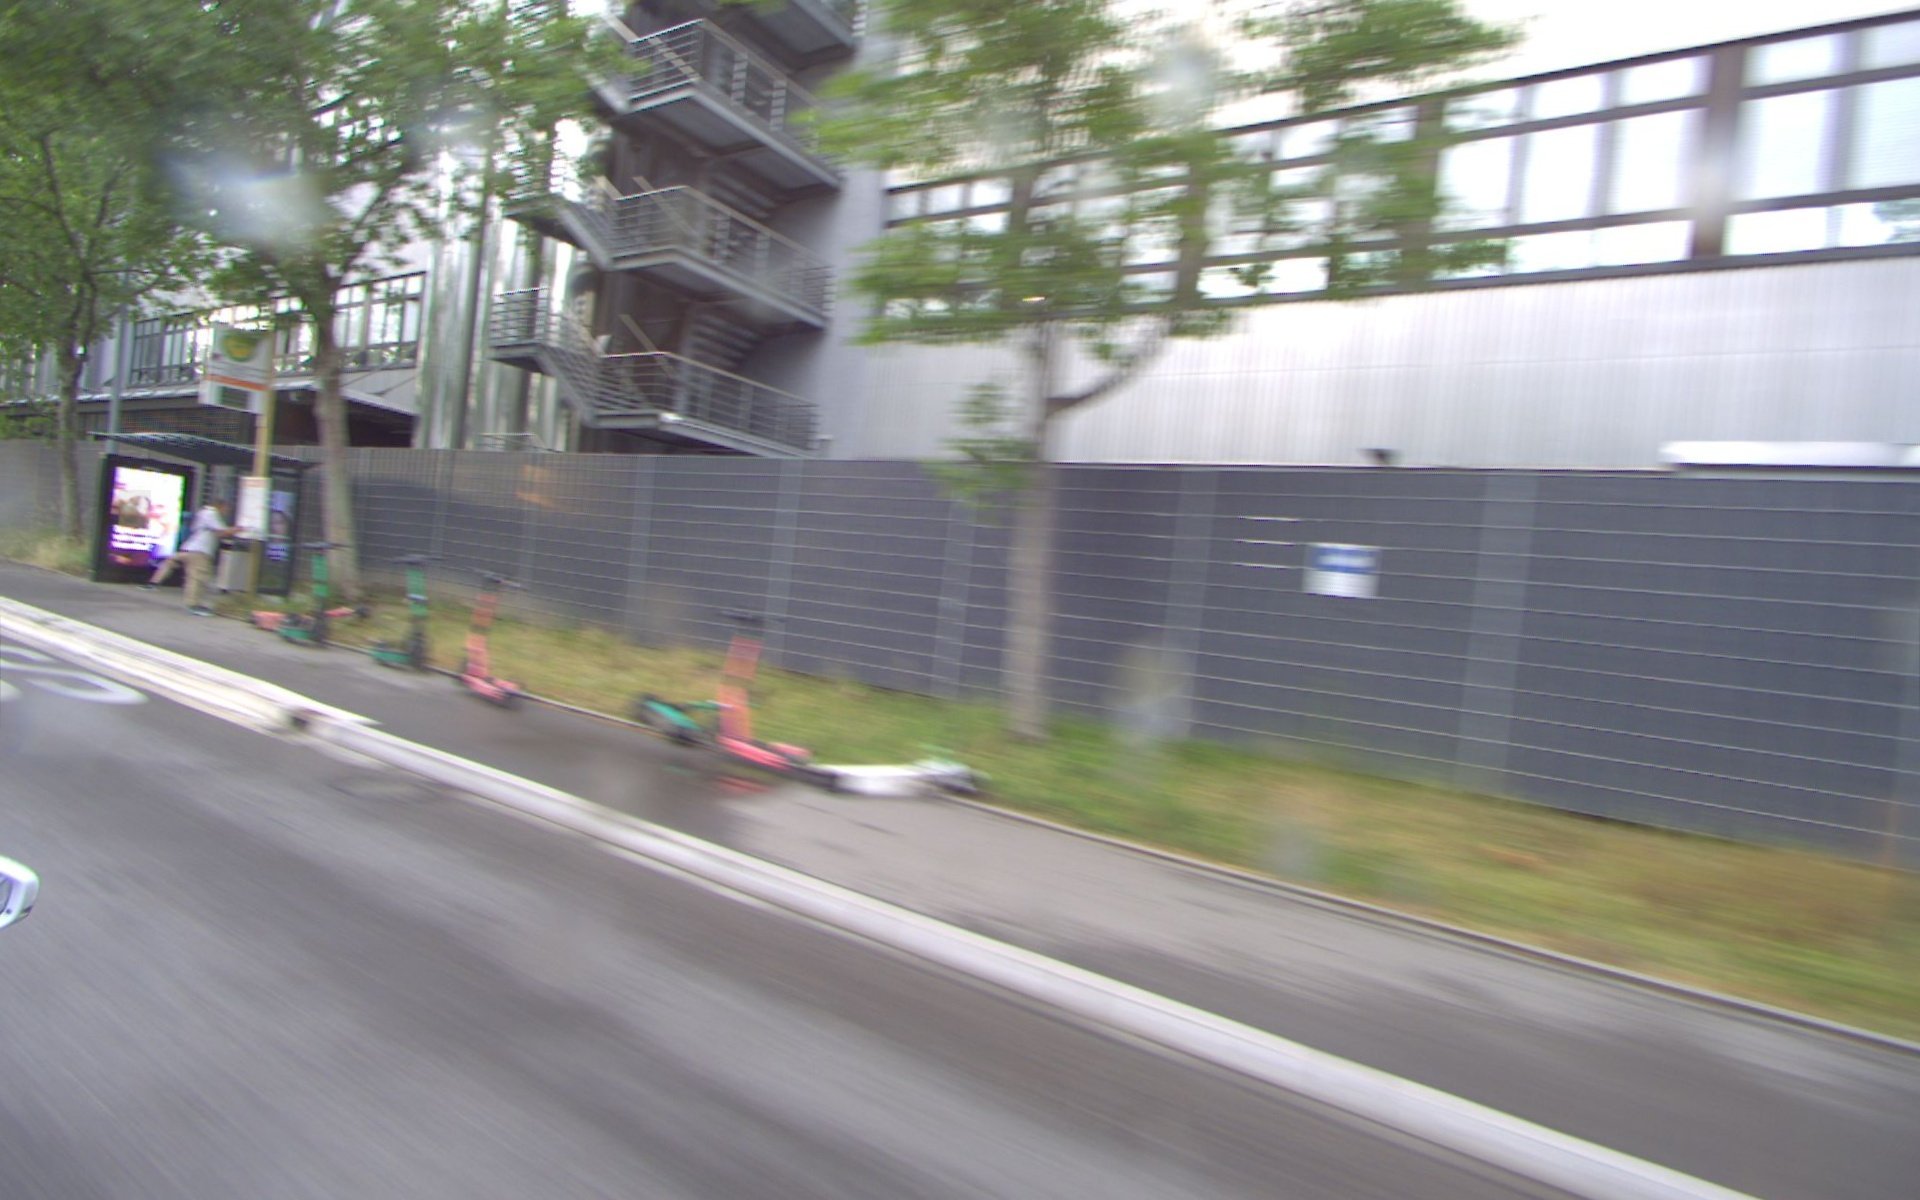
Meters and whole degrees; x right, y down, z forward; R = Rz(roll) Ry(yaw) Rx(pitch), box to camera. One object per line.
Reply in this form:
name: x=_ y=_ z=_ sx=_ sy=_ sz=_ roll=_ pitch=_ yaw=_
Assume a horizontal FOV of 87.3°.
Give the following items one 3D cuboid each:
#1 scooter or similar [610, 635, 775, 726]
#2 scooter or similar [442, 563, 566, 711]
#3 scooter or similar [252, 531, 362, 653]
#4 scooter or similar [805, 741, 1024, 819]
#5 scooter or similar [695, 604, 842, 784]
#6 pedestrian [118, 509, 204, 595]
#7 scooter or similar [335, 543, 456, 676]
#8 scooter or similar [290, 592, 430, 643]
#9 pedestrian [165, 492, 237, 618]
scooter or similar: x=-2.803 y=0.836 z=10.630 sx=1.496 sy=0.722 sz=0.654 roll=7 pitch=1 yaw=2
scooter or similar: x=-4.461 y=0.345 z=9.818 sx=1.174 sy=1.286 sz=0.434 roll=7 pitch=1 yaw=33
scooter or similar: x=-7.955 y=-0.108 z=12.237 sx=1.410 sy=1.309 sz=0.503 roll=7 pitch=1 yaw=33
scooter or similar: x=-0.320 y=1.315 z=7.450 sx=1.495 sy=0.249 sz=0.655 roll=7 pitch=0 yaw=11
scooter or similar: x=-1.530 y=0.721 z=7.985 sx=1.056 sy=1.242 sz=0.389 roll=7 pitch=1 yaw=33
pedestrian: x=-13.770 y=-0.815 z=17.335 sx=0.675 sy=1.333 sz=0.950 roll=7 pitch=1 yaw=39
scooter or similar: x=-6.281 y=0.096 z=11.173 sx=1.410 sy=1.309 sz=0.475 roll=7 pitch=1 yaw=33
scooter or similar: x=-8.328 y=0.253 z=13.992 sx=1.555 sy=0.526 sz=0.636 roll=7 pitch=0 yaw=-41
pedestrian: x=-10.726 y=-0.638 z=14.212 sx=0.651 sy=1.688 sz=0.481 roll=7 pitch=1 yaw=31
